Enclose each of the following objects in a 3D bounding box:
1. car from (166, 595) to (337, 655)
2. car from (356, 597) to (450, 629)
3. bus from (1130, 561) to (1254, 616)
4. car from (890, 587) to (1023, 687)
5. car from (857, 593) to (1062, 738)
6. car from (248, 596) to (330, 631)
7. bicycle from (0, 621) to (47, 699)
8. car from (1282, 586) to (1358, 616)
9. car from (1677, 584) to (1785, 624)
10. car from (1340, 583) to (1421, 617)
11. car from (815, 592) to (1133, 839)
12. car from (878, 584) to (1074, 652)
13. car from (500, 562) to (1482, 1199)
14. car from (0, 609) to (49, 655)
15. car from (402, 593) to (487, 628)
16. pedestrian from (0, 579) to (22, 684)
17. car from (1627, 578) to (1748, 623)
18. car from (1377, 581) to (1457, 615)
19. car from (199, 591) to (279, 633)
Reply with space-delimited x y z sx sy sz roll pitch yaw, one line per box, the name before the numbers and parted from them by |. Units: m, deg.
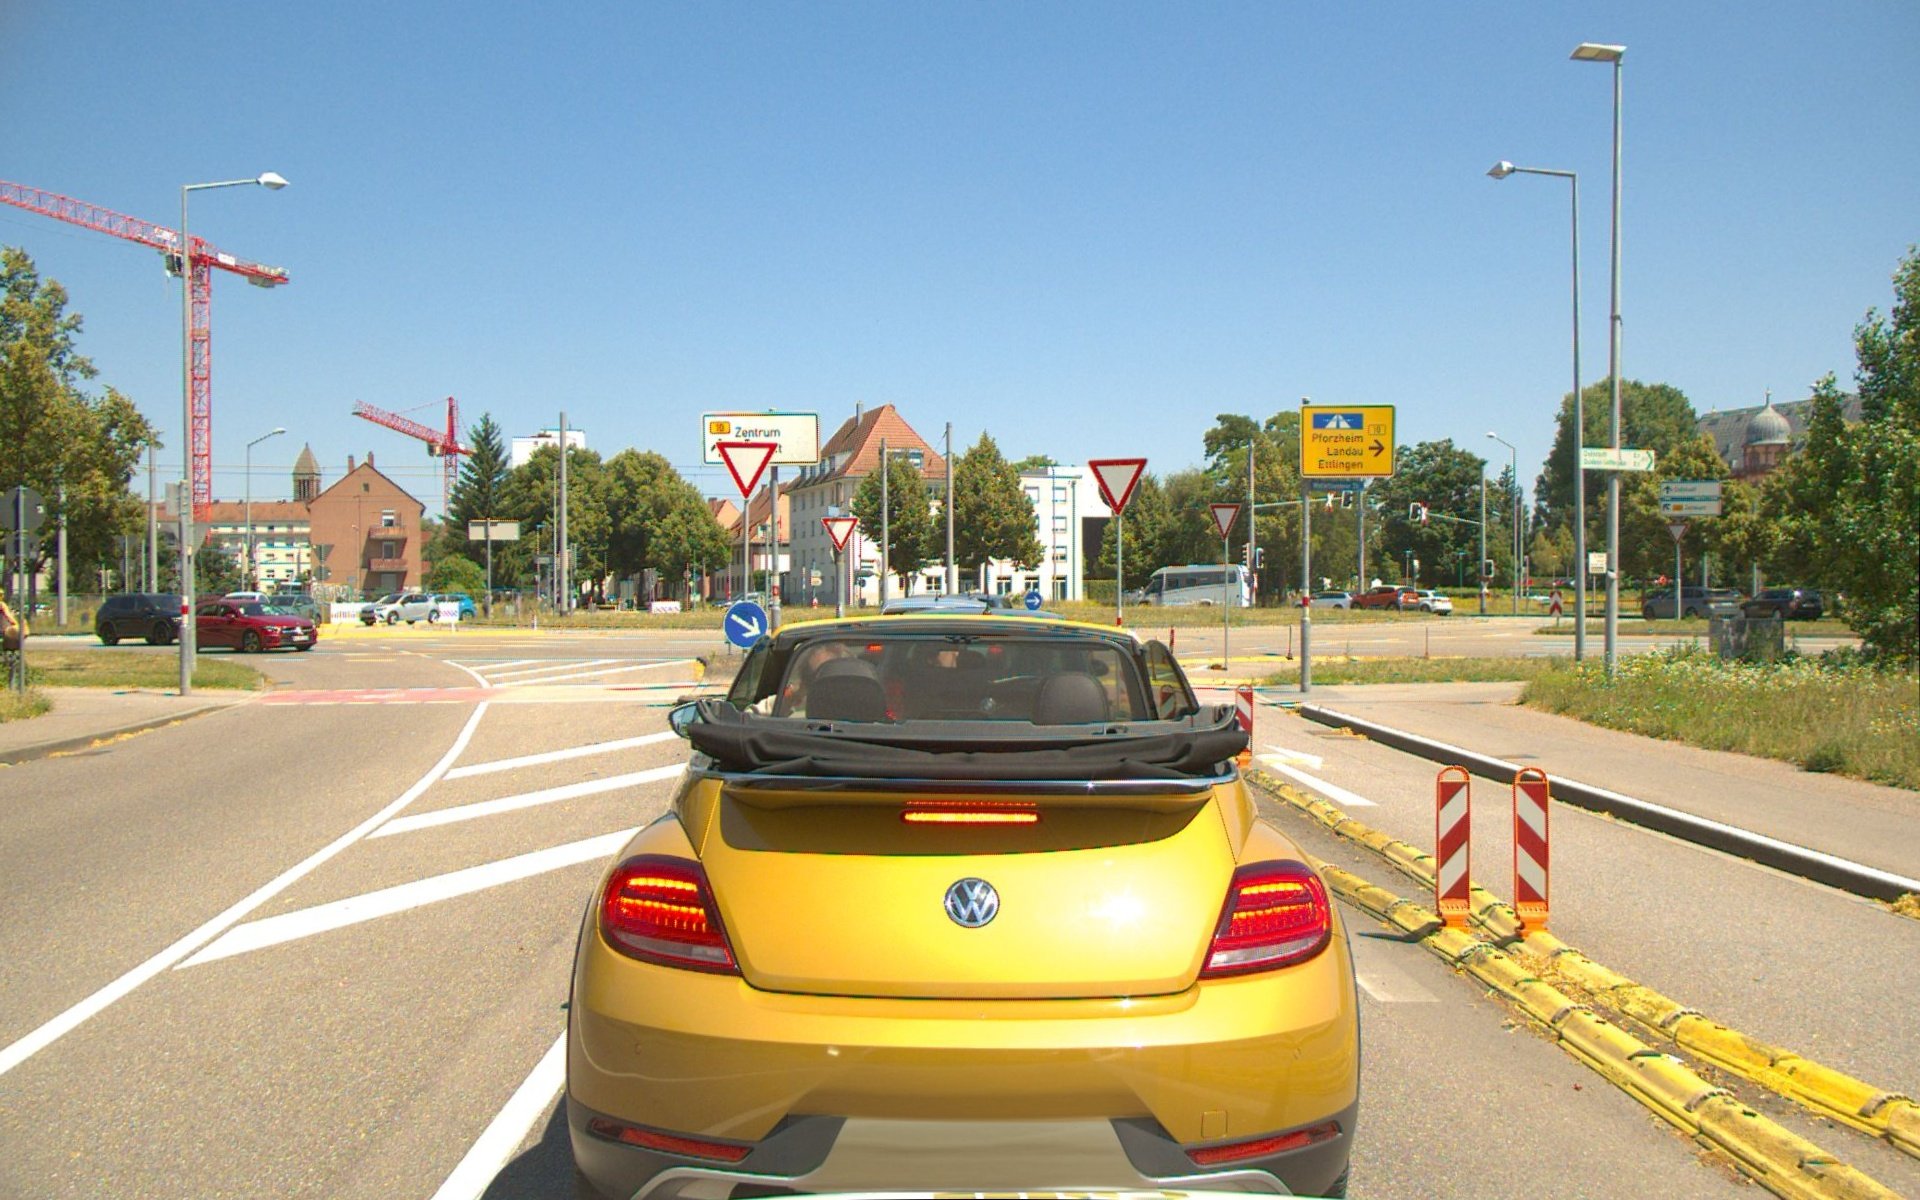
car | -19.570 0.669 45.683 4.319 1.554 1.998 1 0 27
car | -26.224 0.610 78.013 1.693 1.427 4.267 1 0 26
bus | 14.102 -0.710 100.539 7.114 3.228 2.258 1 0 28
car | -0.082 0.552 27.571 2.023 1.506 4.542 -1 0 -1
car | -0.033 0.659 18.573 2.023 1.406 4.257 1 0 -1
car | -27.859 0.543 68.793 1.711 1.395 4.329 1 0 -2
bicycle | -16.087 0.997 27.264 1.803 1.253 0.614 -2 -1 10
car | 22.315 0.046 102.760 1.833 1.766 4.375 1 0 -43
car | 35.655 0.165 76.620 1.820 1.766 4.407 1 0 -26
car | 22.503 -0.010 88.678 1.820 1.766 4.407 1 0 -26
car | 0.052 0.650 11.614 1.814 1.389 4.257 -1 0 -1
car | 0.412 0.426 39.372 4.311 1.554 2.002 -1 0 13
car | 0.028 0.710 5.066 1.729 1.507 4.257 1 0 -1
car | -36.376 1.155 61.807 4.319 1.623 1.998 1 0 27
car | -27.424 0.555 87.996 3.955 1.803 1.853 1 0 -36
pedestrian | -16.023 0.515 27.276 0.717 1.721 0.575 1 -1 9
car | 29.712 0.025 67.706 1.820 1.766 4.407 1 0 -26
car | 25.480 -0.129 92.202 3.931 1.803 1.775 1 0 43
car | -27.323 0.427 62.801 1.742 1.554 3.866 -1 0 -7
